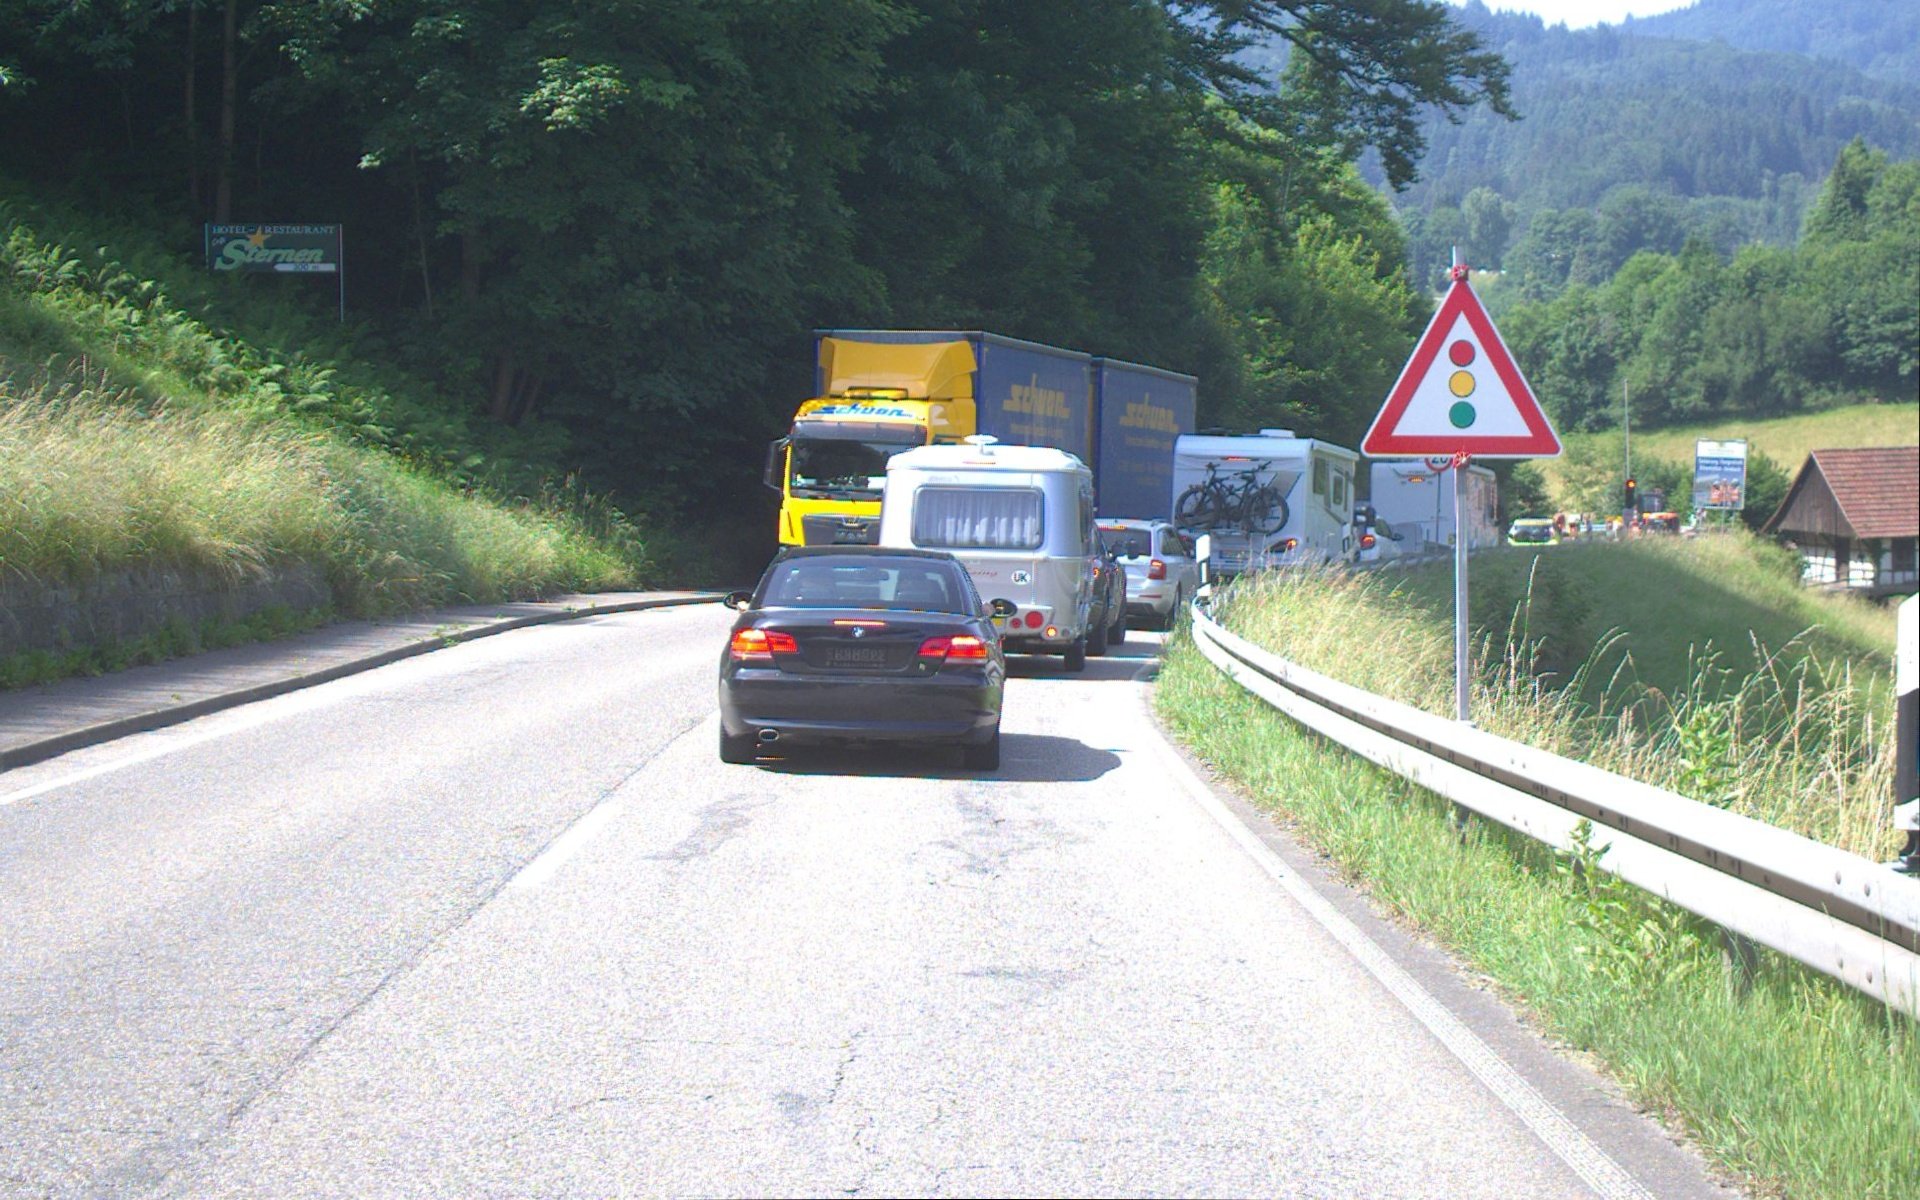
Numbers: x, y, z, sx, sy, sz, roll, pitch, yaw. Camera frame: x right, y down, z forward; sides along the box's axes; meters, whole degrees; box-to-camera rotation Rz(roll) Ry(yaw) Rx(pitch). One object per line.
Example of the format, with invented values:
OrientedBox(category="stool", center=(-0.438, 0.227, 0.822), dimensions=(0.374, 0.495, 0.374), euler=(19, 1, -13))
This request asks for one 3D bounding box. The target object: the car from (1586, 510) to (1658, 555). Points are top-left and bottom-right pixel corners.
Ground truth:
OrientedBox(category="car", center=(24.990, -2.542, 129.628), dimensions=(1.996, 1.570, 3.996), euler=(3, 1, 20))

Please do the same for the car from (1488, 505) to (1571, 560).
OrientedBox(category="car", center=(17.091, -2.011, 103.053), dimensions=(1.908, 1.481, 3.997), euler=(3, 1, 16))

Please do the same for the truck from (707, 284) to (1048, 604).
OrientedBox(category="truck", center=(-1.109, -2.325, 51.579), dimensions=(3.191, 4.381, 6.567), euler=(3, 3, 15))

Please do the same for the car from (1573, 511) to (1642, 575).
OrientedBox(category="car", center=(21.139, -1.873, 112.148), dimensions=(1.995, 1.919, 3.998), euler=(5, 2, 12))

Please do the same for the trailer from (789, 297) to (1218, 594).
OrientedBox(category="trailer", center=(1.185, -2.581, 59.522), dimensions=(3.262, 4.402, 15.304), euler=(3, 2, 16))

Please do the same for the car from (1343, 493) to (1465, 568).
OrientedBox(category="car", center=(9.632, -1.525, 74.436), dimensions=(1.789, 1.459, 3.997), euler=(4, 3, 18))

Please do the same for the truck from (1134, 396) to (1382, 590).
OrientedBox(category="truck", center=(5.234, -1.848, 59.196), dimensions=(2.793, 2.987, 6.863), euler=(4, 3, 16))

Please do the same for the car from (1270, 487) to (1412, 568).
OrientedBox(category="car", center=(7.635, -1.469, 68.612), dimensions=(1.995, 1.459, 3.997), euler=(4, 3, 17))

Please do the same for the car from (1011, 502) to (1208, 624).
OrientedBox(category="car", center=(2.084, -0.529, 46.833), dimensions=(1.995, 1.479, 3.998), euler=(4, 2, 11))

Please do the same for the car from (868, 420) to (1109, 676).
OrientedBox(category="car", center=(0.371, -0.609, 34.773), dimensions=(1.994, 2.344, 4.914), euler=(2, 3, 5))

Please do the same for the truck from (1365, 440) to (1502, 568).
OrientedBox(category="truck", center=(11.224, -2.208, 81.065), dimensions=(2.239, 2.794, 6.227), euler=(3, 1, 16))

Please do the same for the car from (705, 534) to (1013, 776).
OrientedBox(category="car", center=(-0.676, 0.290, 22.107), dimensions=(1.771, 1.331, 3.768), euler=(2, 2, -3))
